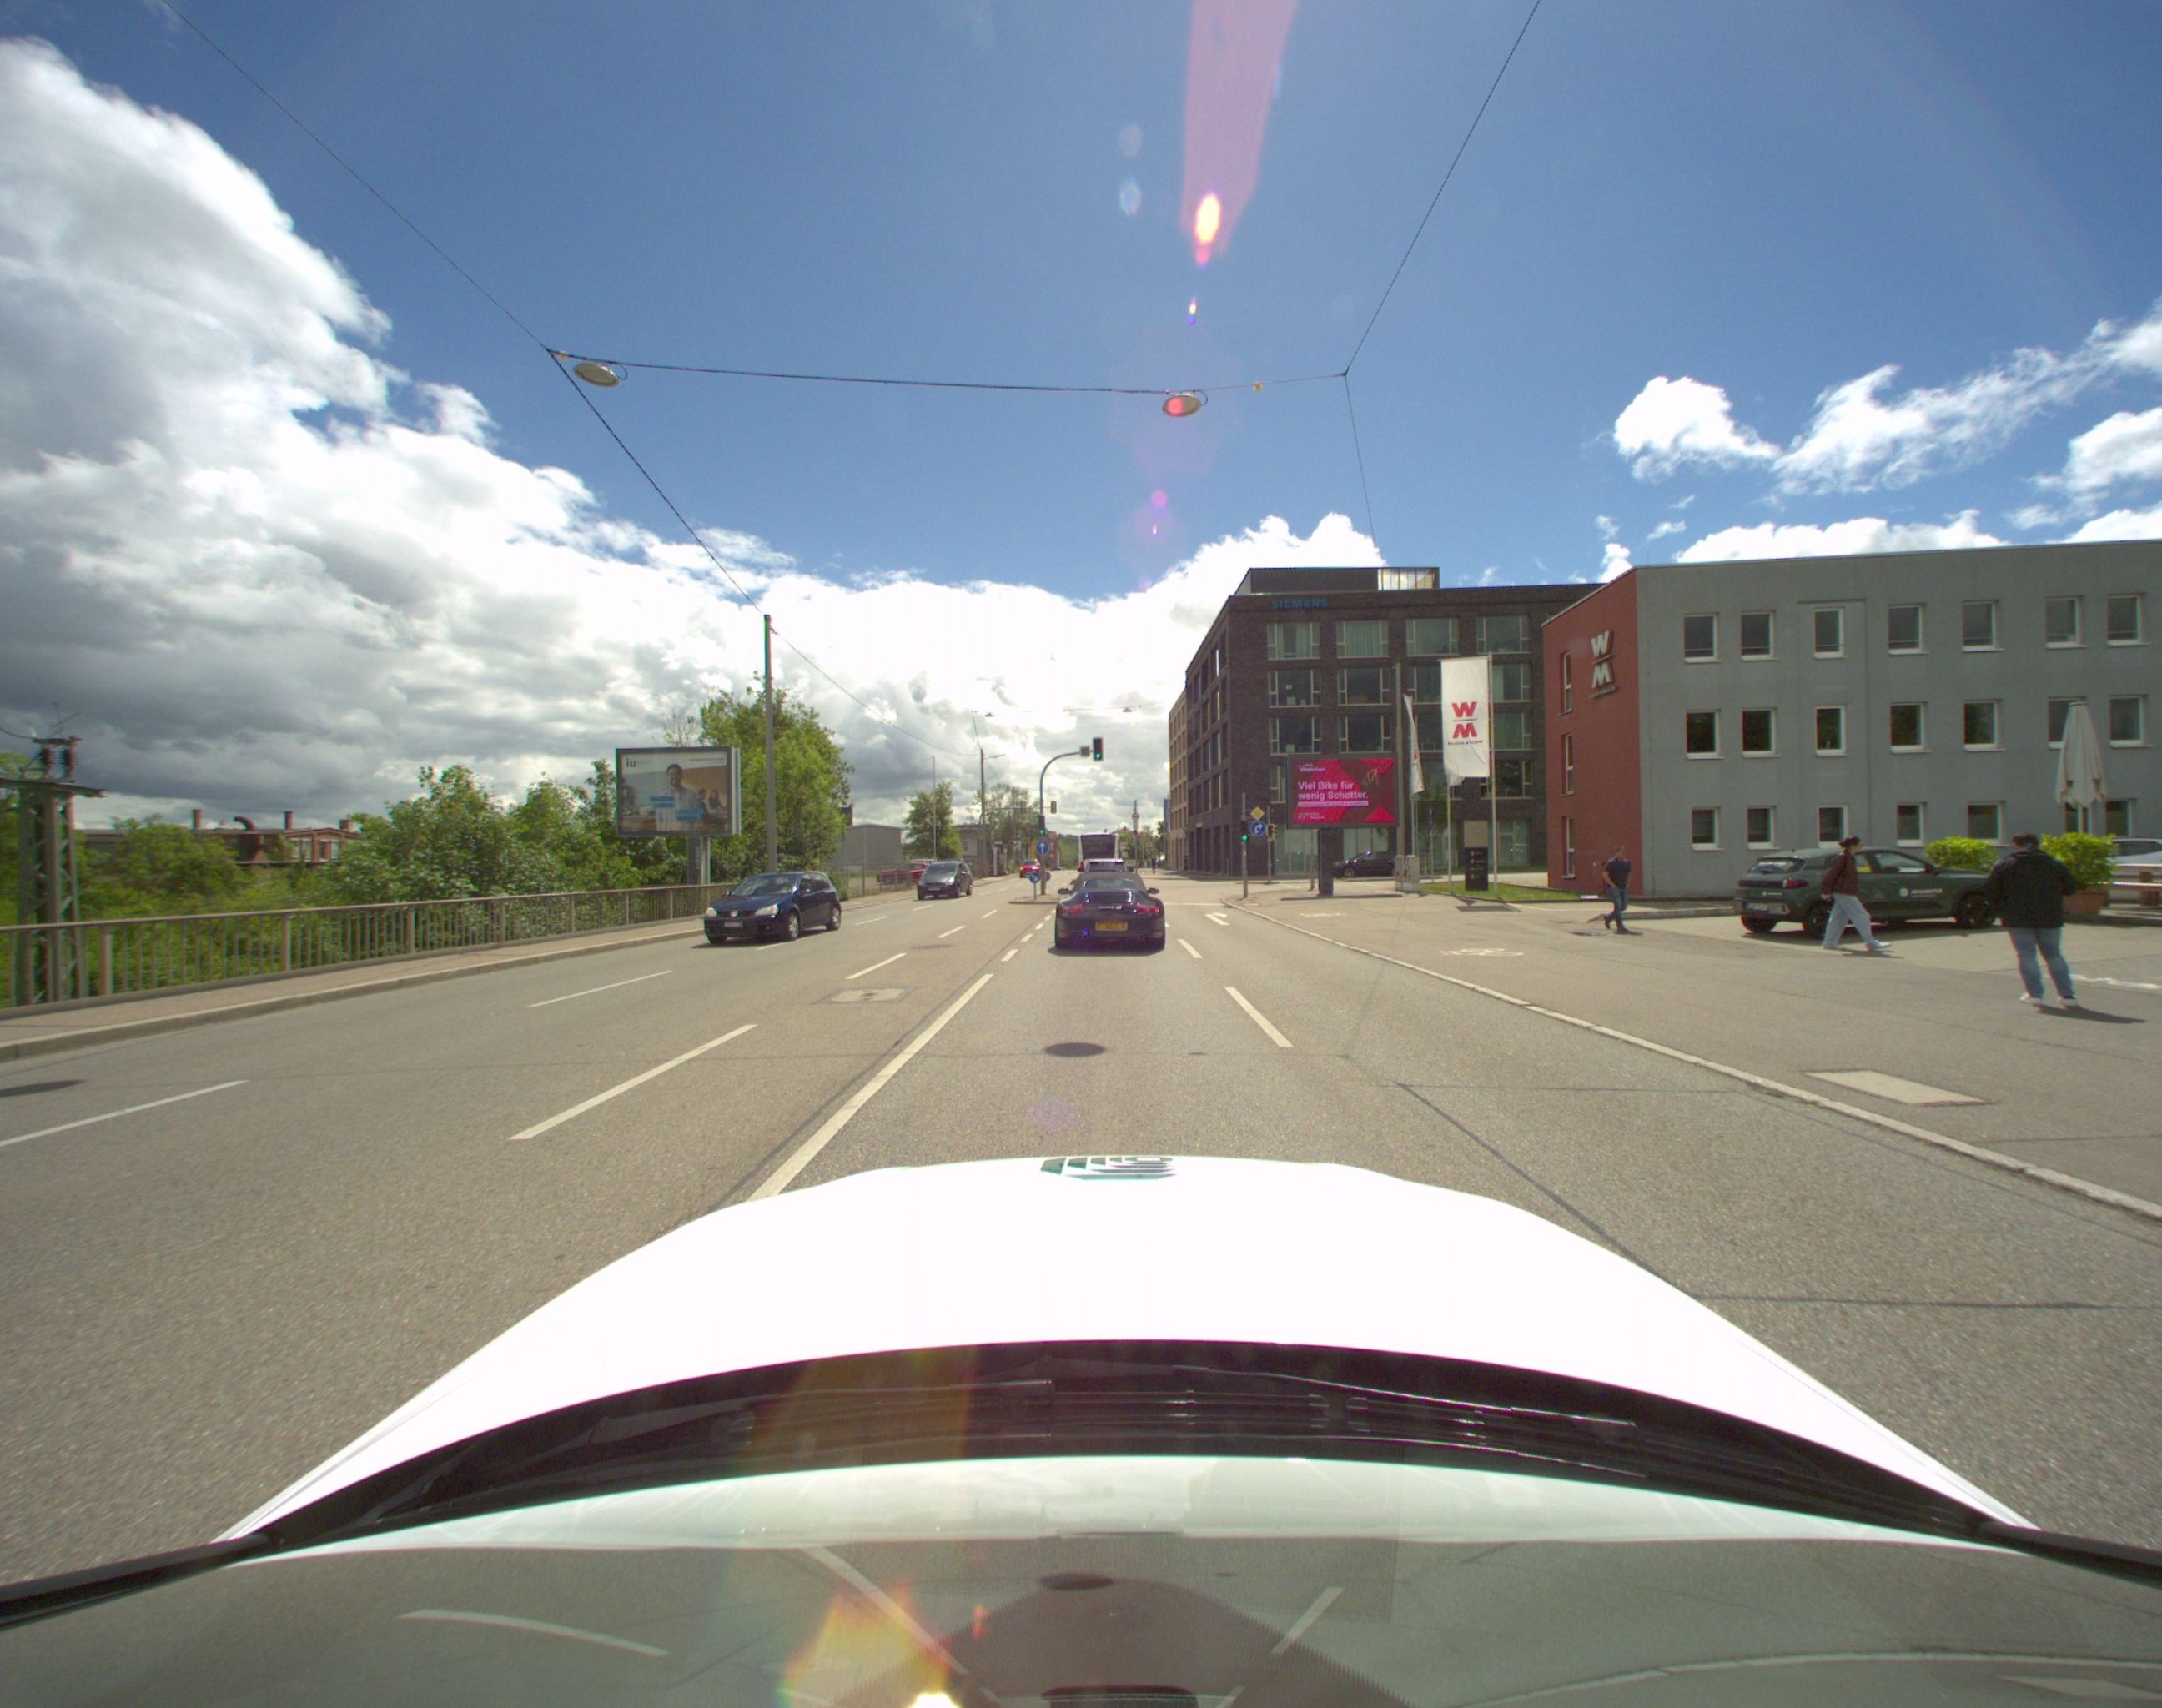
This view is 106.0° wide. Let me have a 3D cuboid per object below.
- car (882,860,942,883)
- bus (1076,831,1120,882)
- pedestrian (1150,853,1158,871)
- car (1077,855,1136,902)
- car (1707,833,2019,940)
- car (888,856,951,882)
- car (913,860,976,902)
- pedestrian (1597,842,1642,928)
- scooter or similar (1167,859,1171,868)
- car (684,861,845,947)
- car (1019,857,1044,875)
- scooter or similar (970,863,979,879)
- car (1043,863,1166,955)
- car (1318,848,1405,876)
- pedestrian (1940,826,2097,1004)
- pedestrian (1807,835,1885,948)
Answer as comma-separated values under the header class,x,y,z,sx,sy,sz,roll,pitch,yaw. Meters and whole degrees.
class,x,y,z,sx,sy,sz,roll,pitch,yaw
car,-11.342,1.173,54.854,3.849,1.419,1.897,-1,0,-8
bus,1.305,0.182,57.457,2.791,3.198,12.201,-1,0,2
pedestrian,7.028,0.782,77.955,0.681,1.728,0.962,0,0,0
car,0.866,0.856,29.832,1.925,1.583,4.205,-1,0,-2
car,13.651,0.557,14.415,3.651,1.486,1.763,-5,-1,3
car,-11.359,1.046,57.634,4.094,1.734,1.997,-1,0,-4
car,-6.087,1.152,36.785,1.904,1.702,4.627,-1,0,2
pedestrian,10.992,0.616,16.646,0.705,1.707,0.634,-1,0,28
scooter or similar,11.755,1.293,108.799,0.425,1.153,1.403,-1,-1,0
car,-6.747,0.992,17.856,1.849,1.618,4.001,-1,0,2
car,-4.412,1.060,73.142,1.834,1.596,4.002,-1,0,2
scooter or similar,-8.099,1.302,61.785,0.421,1.210,1.128,1,0,5
car,0.430,0.894,14.980,1.923,1.376,4.209,-1,0,2
car,17.006,0.482,49.546,4.624,1.619,2.000,-1,0,0
pedestrian,9.410,0.589,8.205,0.709,1.707,0.739,-1,0,2
pedestrian,11.877,0.564,12.661,0.741,1.707,0.574,-1,0,28
